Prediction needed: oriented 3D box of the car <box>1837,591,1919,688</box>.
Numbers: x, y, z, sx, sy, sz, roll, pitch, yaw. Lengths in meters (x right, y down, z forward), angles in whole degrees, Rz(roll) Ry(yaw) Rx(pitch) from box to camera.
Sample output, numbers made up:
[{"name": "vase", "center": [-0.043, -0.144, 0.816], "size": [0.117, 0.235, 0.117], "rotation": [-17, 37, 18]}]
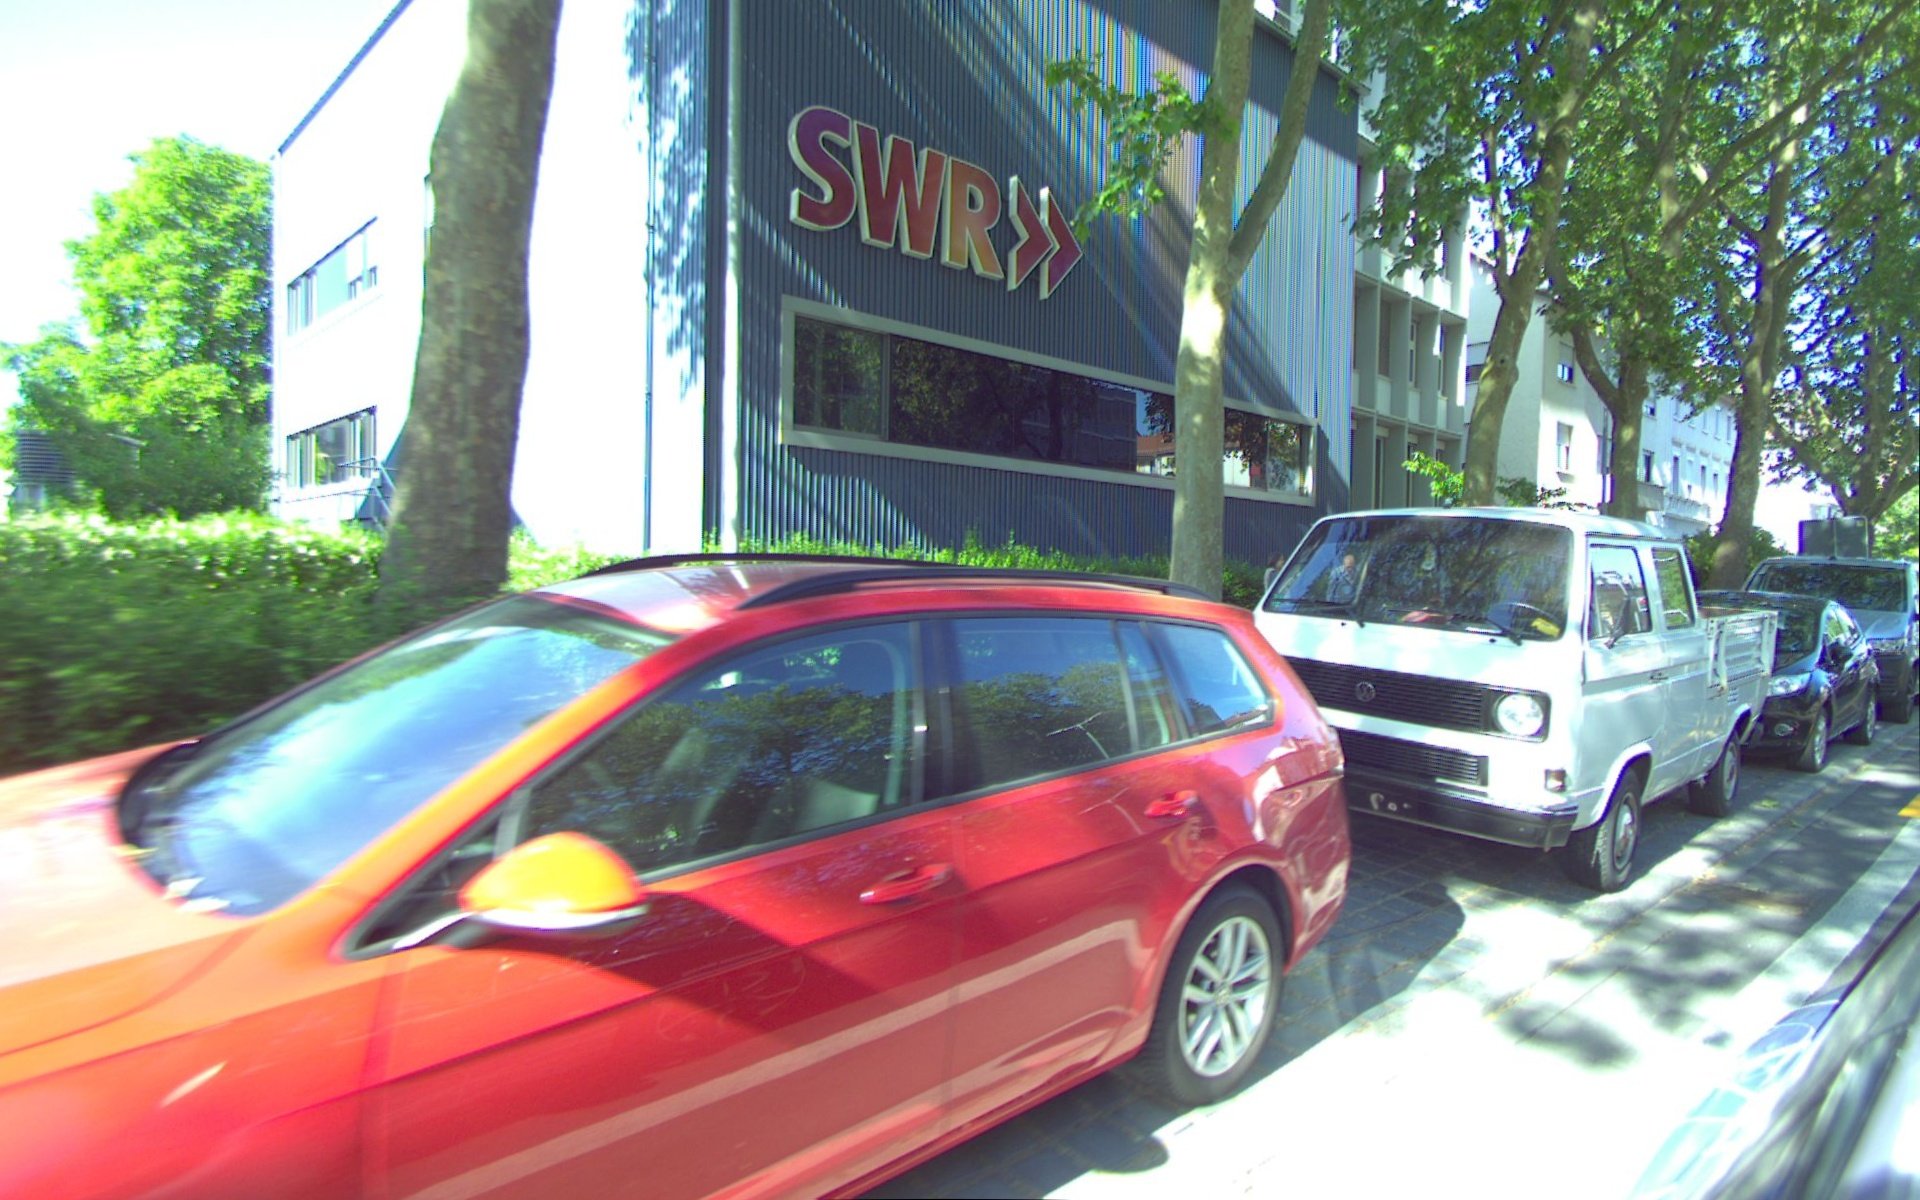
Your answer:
[{"name": "car", "center": [16.812, 0.620, 17.727], "size": [4.056, 1.559, 1.660], "rotation": [0, 1, -41]}]

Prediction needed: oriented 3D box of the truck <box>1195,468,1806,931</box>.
[{"name": "truck", "center": [3.577, 0.356, 6.309], "size": [4.376, 1.904, 1.880], "rotation": [-1, 2, -41]}]

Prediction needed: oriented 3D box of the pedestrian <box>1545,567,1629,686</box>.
[{"name": "pedestrian", "center": [9.008, 0.352, 14.529], "size": [1.246, 1.622, 0.728], "rotation": [0, 1, -44]}]

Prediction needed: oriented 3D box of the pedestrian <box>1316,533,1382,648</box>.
[{"name": "pedestrian", "center": [5.843, -0.125, 15.200], "size": [0.663, 1.671, 0.706], "rotation": [4, -4, -43]}]

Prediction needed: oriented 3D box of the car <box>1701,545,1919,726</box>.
[{"name": "car", "center": [11.795, 0.347, 13.487], "size": [5.182, 1.971, 2.029], "rotation": [0, 1, -42]}]

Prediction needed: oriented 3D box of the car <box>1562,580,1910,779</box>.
[{"name": "car", "center": [7.566, 0.589, 9.741], "size": [4.028, 1.495, 1.752], "rotation": [0, 2, -39]}]

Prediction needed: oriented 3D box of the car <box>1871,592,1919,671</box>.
[{"name": "car", "center": [20.443, 0.615, 21.028], "size": [4.177, 1.527, 1.767], "rotation": [0, 1, -41]}]

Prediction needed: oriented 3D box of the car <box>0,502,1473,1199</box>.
[{"name": "car", "center": [-0.558, 0.604, 2.748], "size": [4.595, 1.526, 1.826], "rotation": [-1, 3, -40]}]
